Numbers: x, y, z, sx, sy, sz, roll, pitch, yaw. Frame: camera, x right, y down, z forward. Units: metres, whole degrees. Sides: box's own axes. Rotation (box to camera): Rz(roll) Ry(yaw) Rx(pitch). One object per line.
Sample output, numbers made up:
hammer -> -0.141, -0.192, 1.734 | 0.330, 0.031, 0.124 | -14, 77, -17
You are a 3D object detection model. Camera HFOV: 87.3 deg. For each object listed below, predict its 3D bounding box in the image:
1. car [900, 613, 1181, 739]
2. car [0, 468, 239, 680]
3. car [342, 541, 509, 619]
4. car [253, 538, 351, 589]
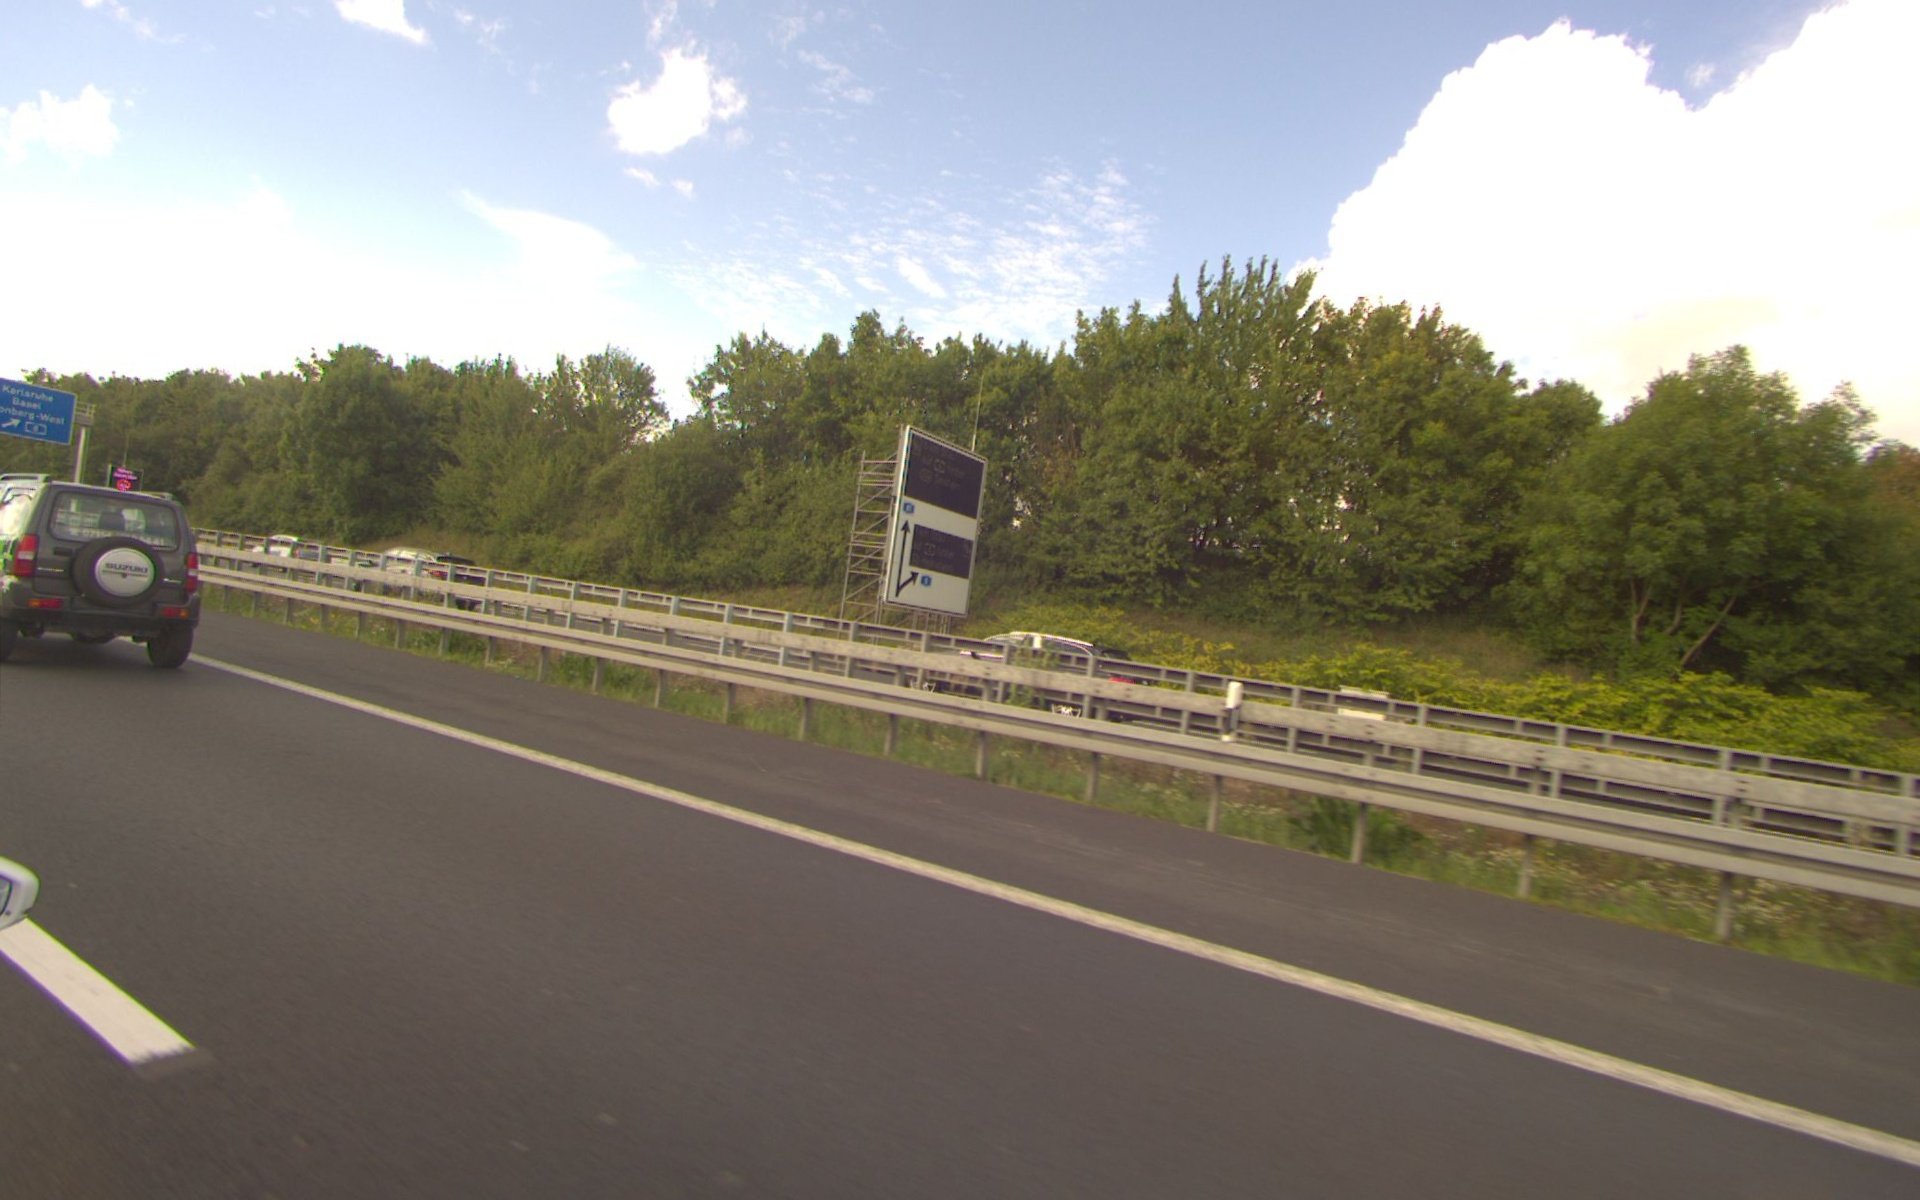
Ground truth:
car -> 1.348, 1.268, 17.249 | 4.238, 1.501, 1.998 | 6, -2, 31
car -> -9.420, -0.354, 10.390 | 4.138, 1.753, 1.669 | 6, -2, 33
car -> -14.105, -0.527, 26.522 | 3.933, 1.501, 1.998 | 6, -2, 31
car -> -28.796, -1.617, 44.004 | 3.934, 1.729, 1.996 | 6, -1, 32
